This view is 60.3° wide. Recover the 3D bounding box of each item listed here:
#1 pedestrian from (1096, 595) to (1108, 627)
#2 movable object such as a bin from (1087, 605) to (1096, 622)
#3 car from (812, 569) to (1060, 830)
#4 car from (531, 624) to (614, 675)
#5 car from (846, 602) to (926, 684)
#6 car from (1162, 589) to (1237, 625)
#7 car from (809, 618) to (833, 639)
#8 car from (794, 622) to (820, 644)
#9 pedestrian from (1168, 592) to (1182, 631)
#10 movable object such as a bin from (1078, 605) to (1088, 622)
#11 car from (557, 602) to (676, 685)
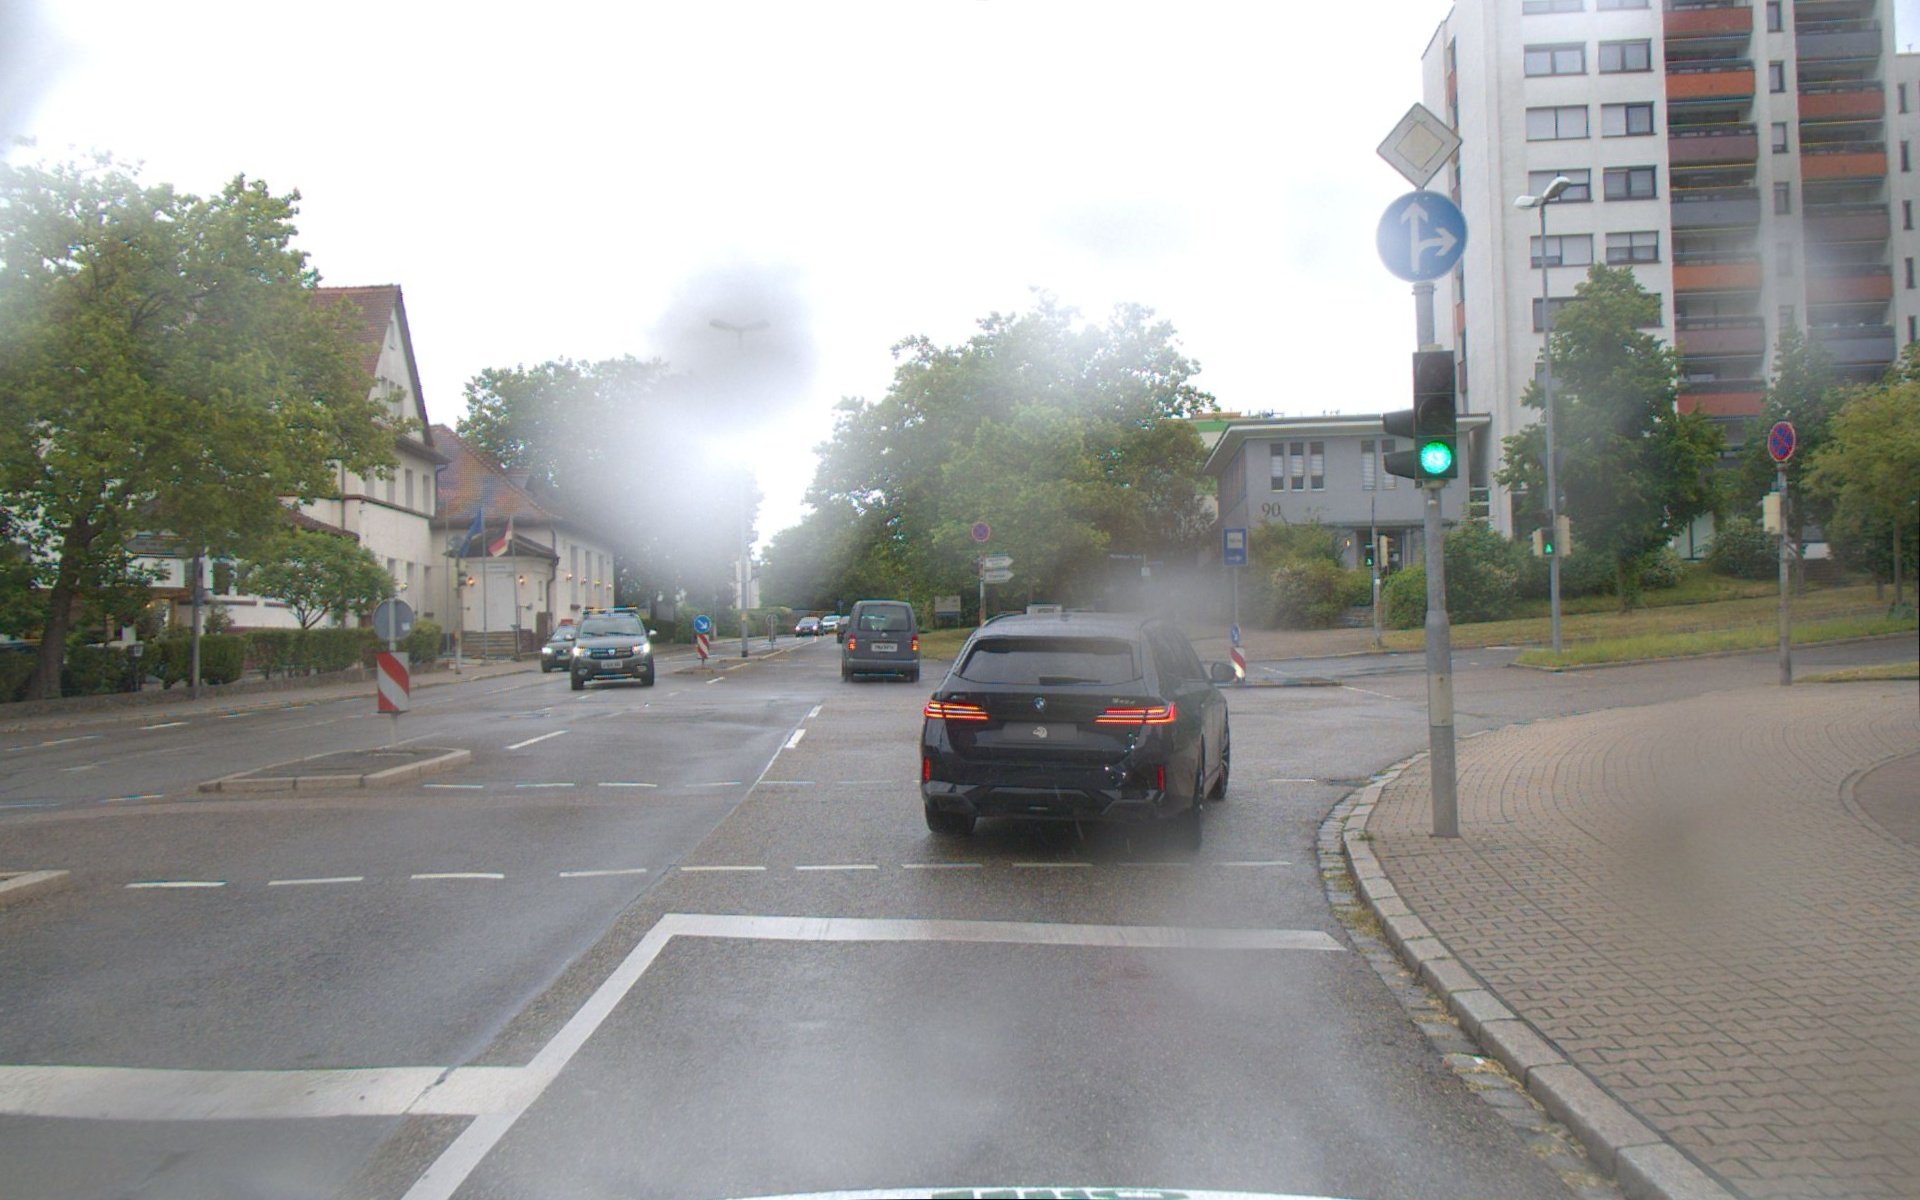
[{"bbox_3d":[8.160,0.636,95.200,0.546,1.794,0.727,0,-2,-6],"label":"pedestrian"},{"bbox_3d":[7.237,0.763,90.873,0.440,0.922,0.463,0,-2,14],"label":"movable object such as a bin"},{"bbox_3d":[-0.263,0.642,11.738,1.494,1.561,3.528,0,-1,-4],"label":"car"},{"bbox_3d":[-12.305,1.538,52.775,1.871,1.452,4.412,-2,0,-4],"label":"car"},{"bbox_3d":[-1.766,1.005,38.738,1.777,1.840,3.753,0,-1,-4],"label":"car"},{"bbox_3d":[12.612,0.367,87.353,3.902,1.848,2.001,0,-1,7],"label":"car"},{"bbox_3d":[-11.778,2.402,140.294,1.793,1.701,4.048,-2,0,-3],"label":"car"},{"bbox_3d":[-11.503,2.460,124.334,1.757,1.554,4.206,-2,0,-3],"label":"car"},{"bbox_3d":[9.272,0.504,71.290,0.588,1.645,0.526,0,-2,5],"label":"pedestrian"},{"bbox_3d":[6.768,0.764,90.972,0.440,0.922,0.463,0,-2,14],"label":"movable object such as a bin"},{"bbox_3d":[-7.298,0.875,35.534,1.861,1.605,4.499,-2,0,-4],"label":"car"}]
